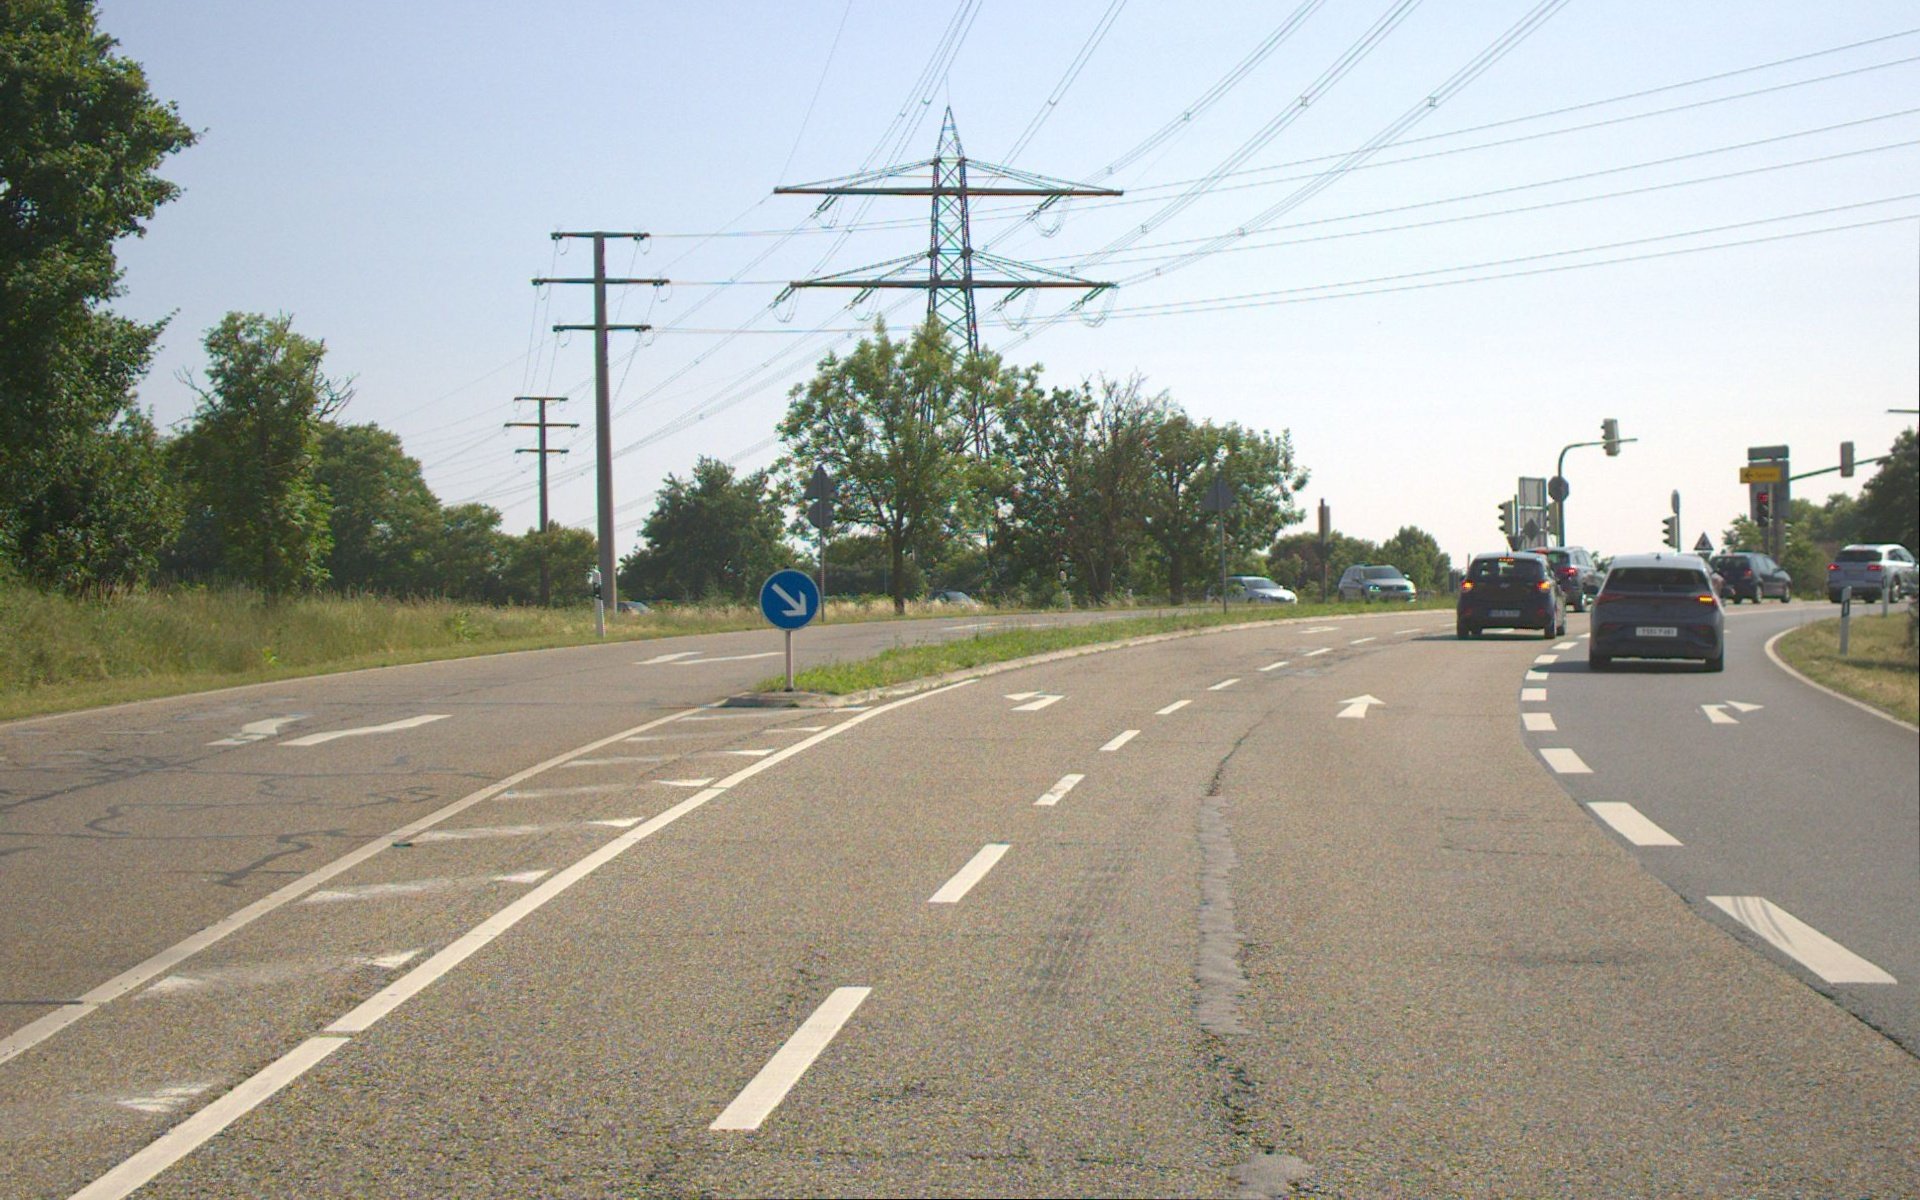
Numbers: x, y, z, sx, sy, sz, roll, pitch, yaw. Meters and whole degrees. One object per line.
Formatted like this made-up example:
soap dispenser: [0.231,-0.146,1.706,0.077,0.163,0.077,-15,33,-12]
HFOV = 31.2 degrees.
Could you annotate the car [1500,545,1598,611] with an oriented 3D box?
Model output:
car: [14.374,-0.542,83.793,1.744,1.563,3.621,1,1,19]

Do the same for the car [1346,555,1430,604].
car: [15.196,-0.712,122.214,1.814,1.645,4.001,-1,0,-11]

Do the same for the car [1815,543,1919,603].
car: [25.823,-0.749,97.237,1.637,1.671,3.740,0,0,41]

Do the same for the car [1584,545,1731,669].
car: [9.411,0.056,46.632,1.773,1.512,4.098,2,2,10]

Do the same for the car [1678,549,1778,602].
car: [22.161,-0.705,99.127,1.745,1.479,3.618,1,0,31]

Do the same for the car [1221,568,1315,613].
car: [11.863,-0.355,132.483,1.814,1.645,4.001,-1,0,-25]

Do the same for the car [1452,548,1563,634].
car: [9.472,-0.173,59.354,1.634,1.443,3.293,0,1,14]
